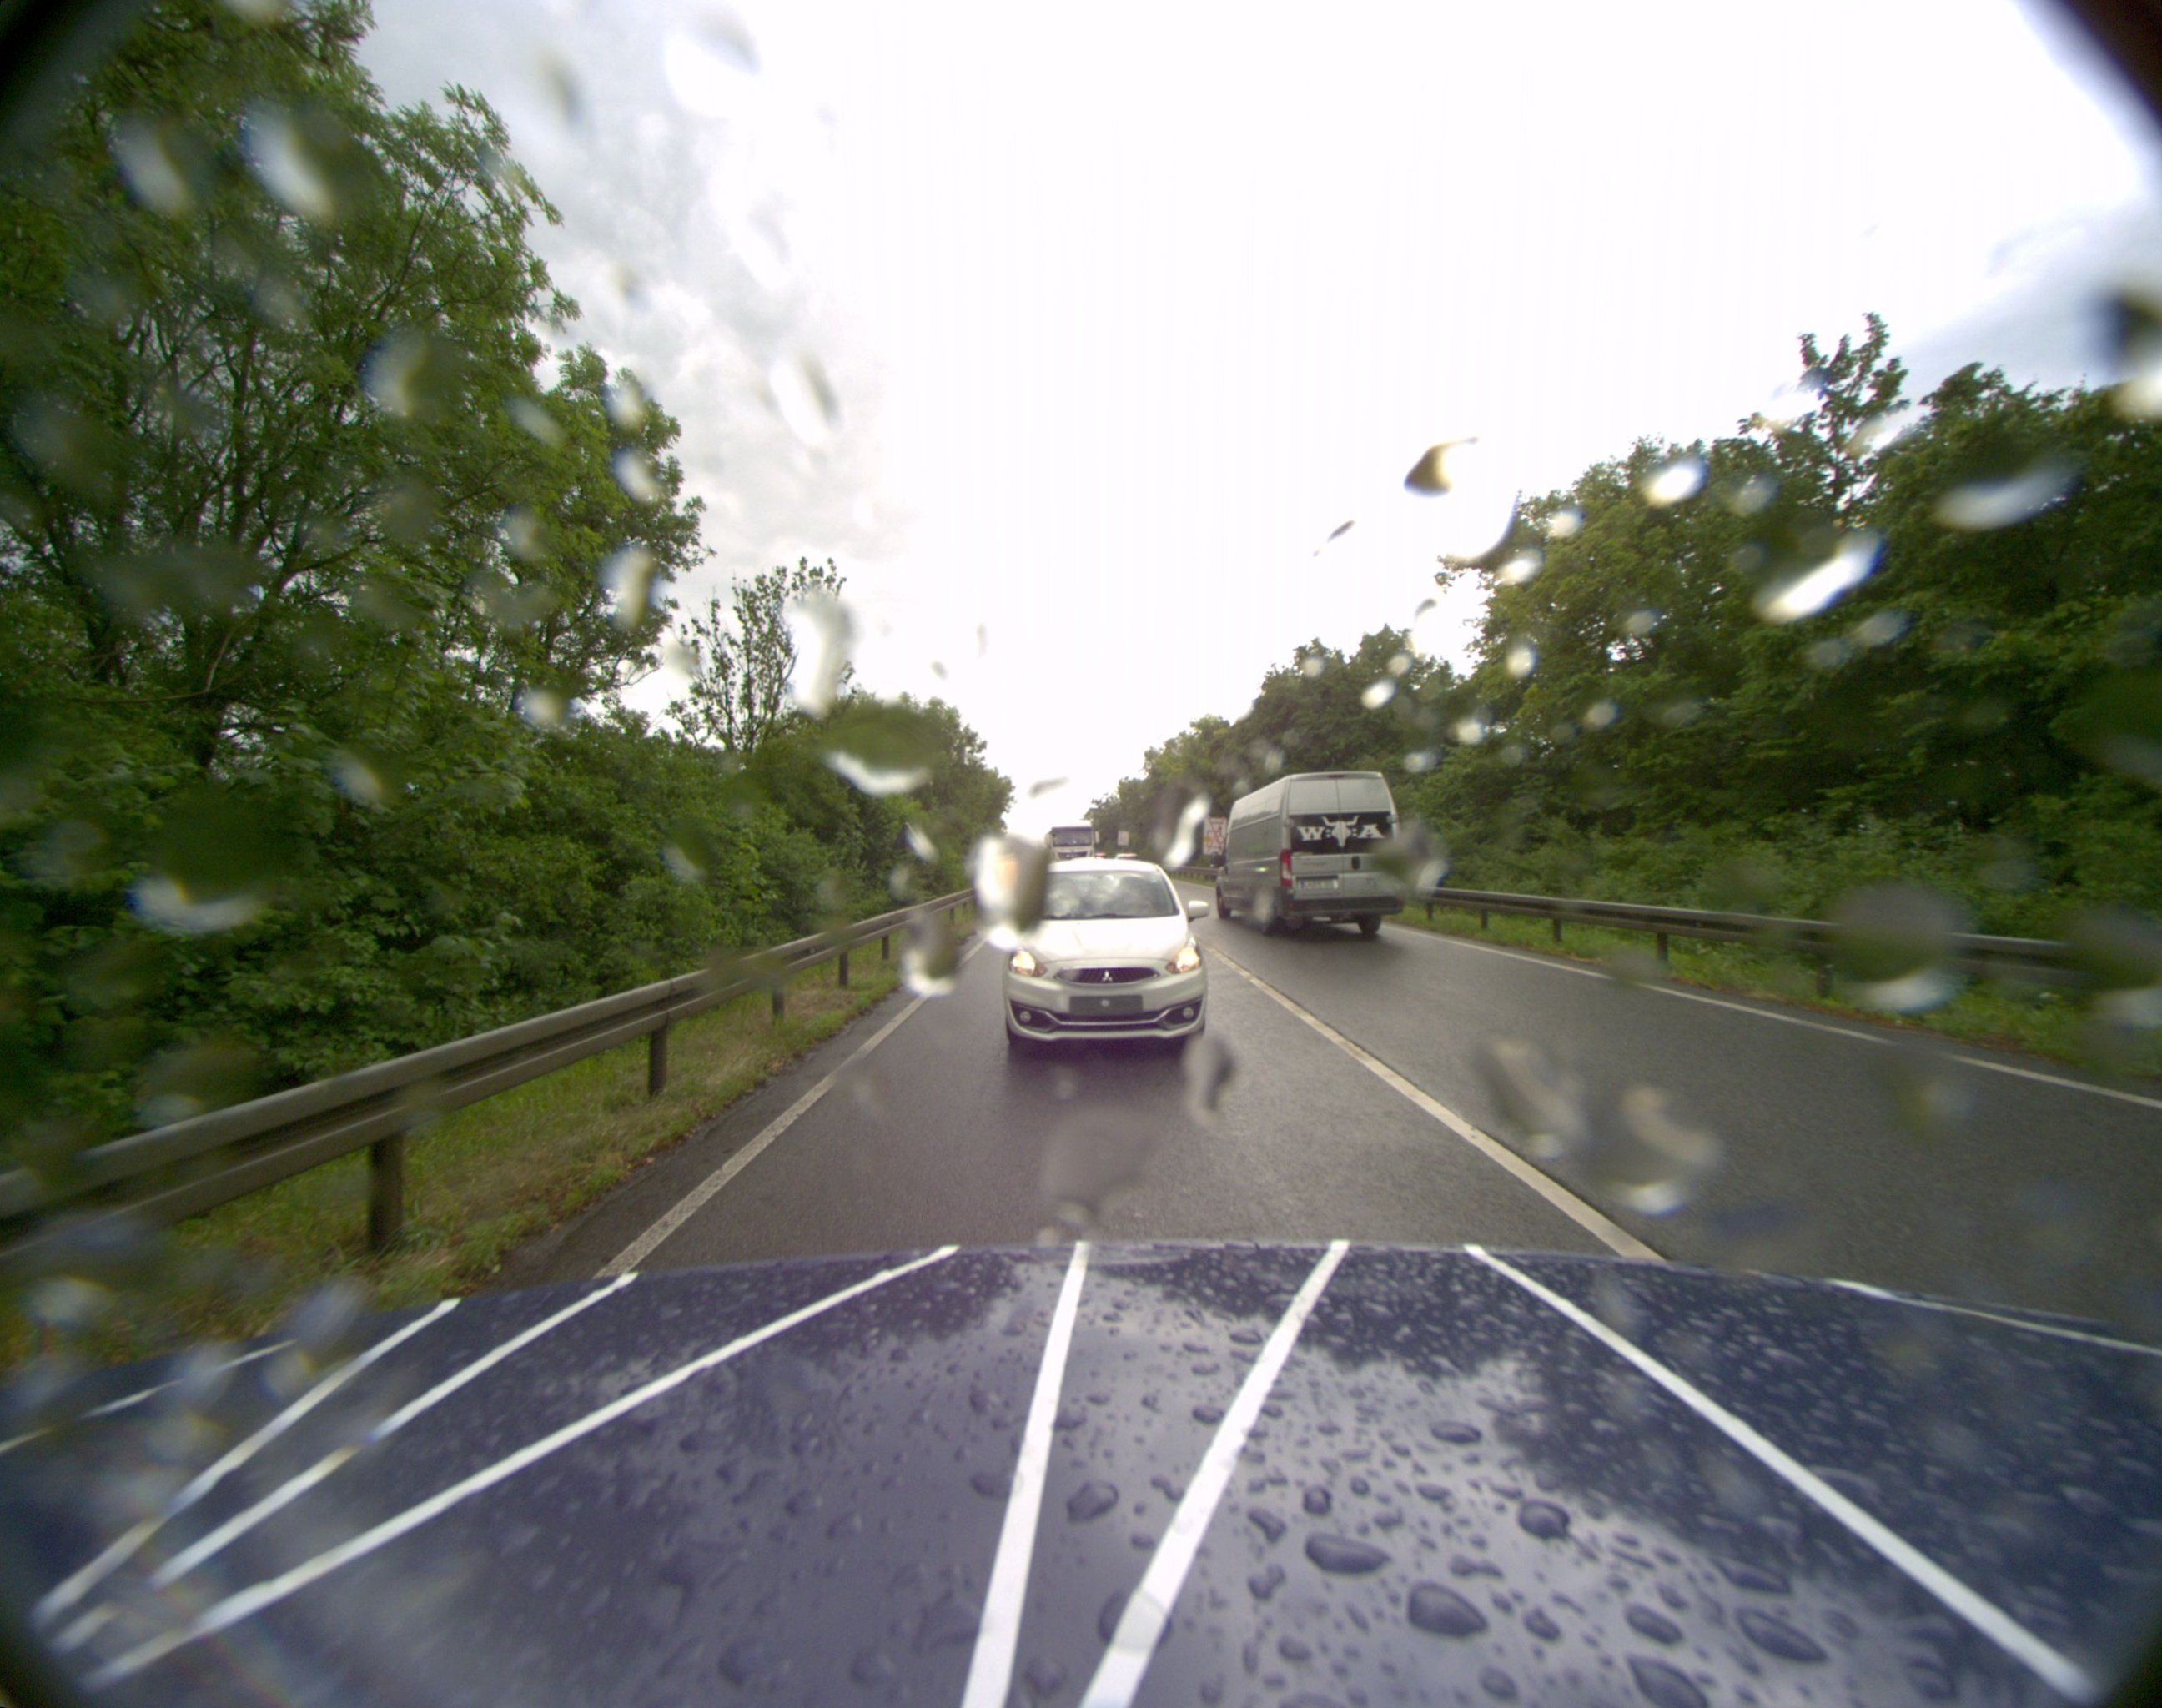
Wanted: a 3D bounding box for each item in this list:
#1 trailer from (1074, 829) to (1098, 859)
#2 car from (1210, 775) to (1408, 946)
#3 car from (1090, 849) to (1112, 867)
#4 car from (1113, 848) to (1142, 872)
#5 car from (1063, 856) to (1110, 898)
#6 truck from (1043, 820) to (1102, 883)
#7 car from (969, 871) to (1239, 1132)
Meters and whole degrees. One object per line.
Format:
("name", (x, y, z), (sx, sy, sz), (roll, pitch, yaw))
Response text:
("trailer", (0.610, -1.335, 101.135), (2.543, 3.803, 7.788), (-2, 1, -3))
("car", (4.138, 0.058, 15.125), (2.053, 2.661, 6.170), (-1, 1, 0))
("car", (1.884, 0.377, 73.701), (1.852, 1.634, 4.297), (-2, 0, -1))
("car", (3.193, 0.401, 52.925), (1.696, 1.547, 4.441), (-2, 1, -1))
("car", (0.222, 0.834, 29.329), (1.640, 1.413, 4.491), (-2, 0, 0))
("truck", (-0.595, -0.216, 46.387), (3.136, 3.364, 9.280), (-2, 1, -1))
("car", (0.137, 0.953, 6.780), (1.610, 1.435, 4.208), (-2, 0, 0))
